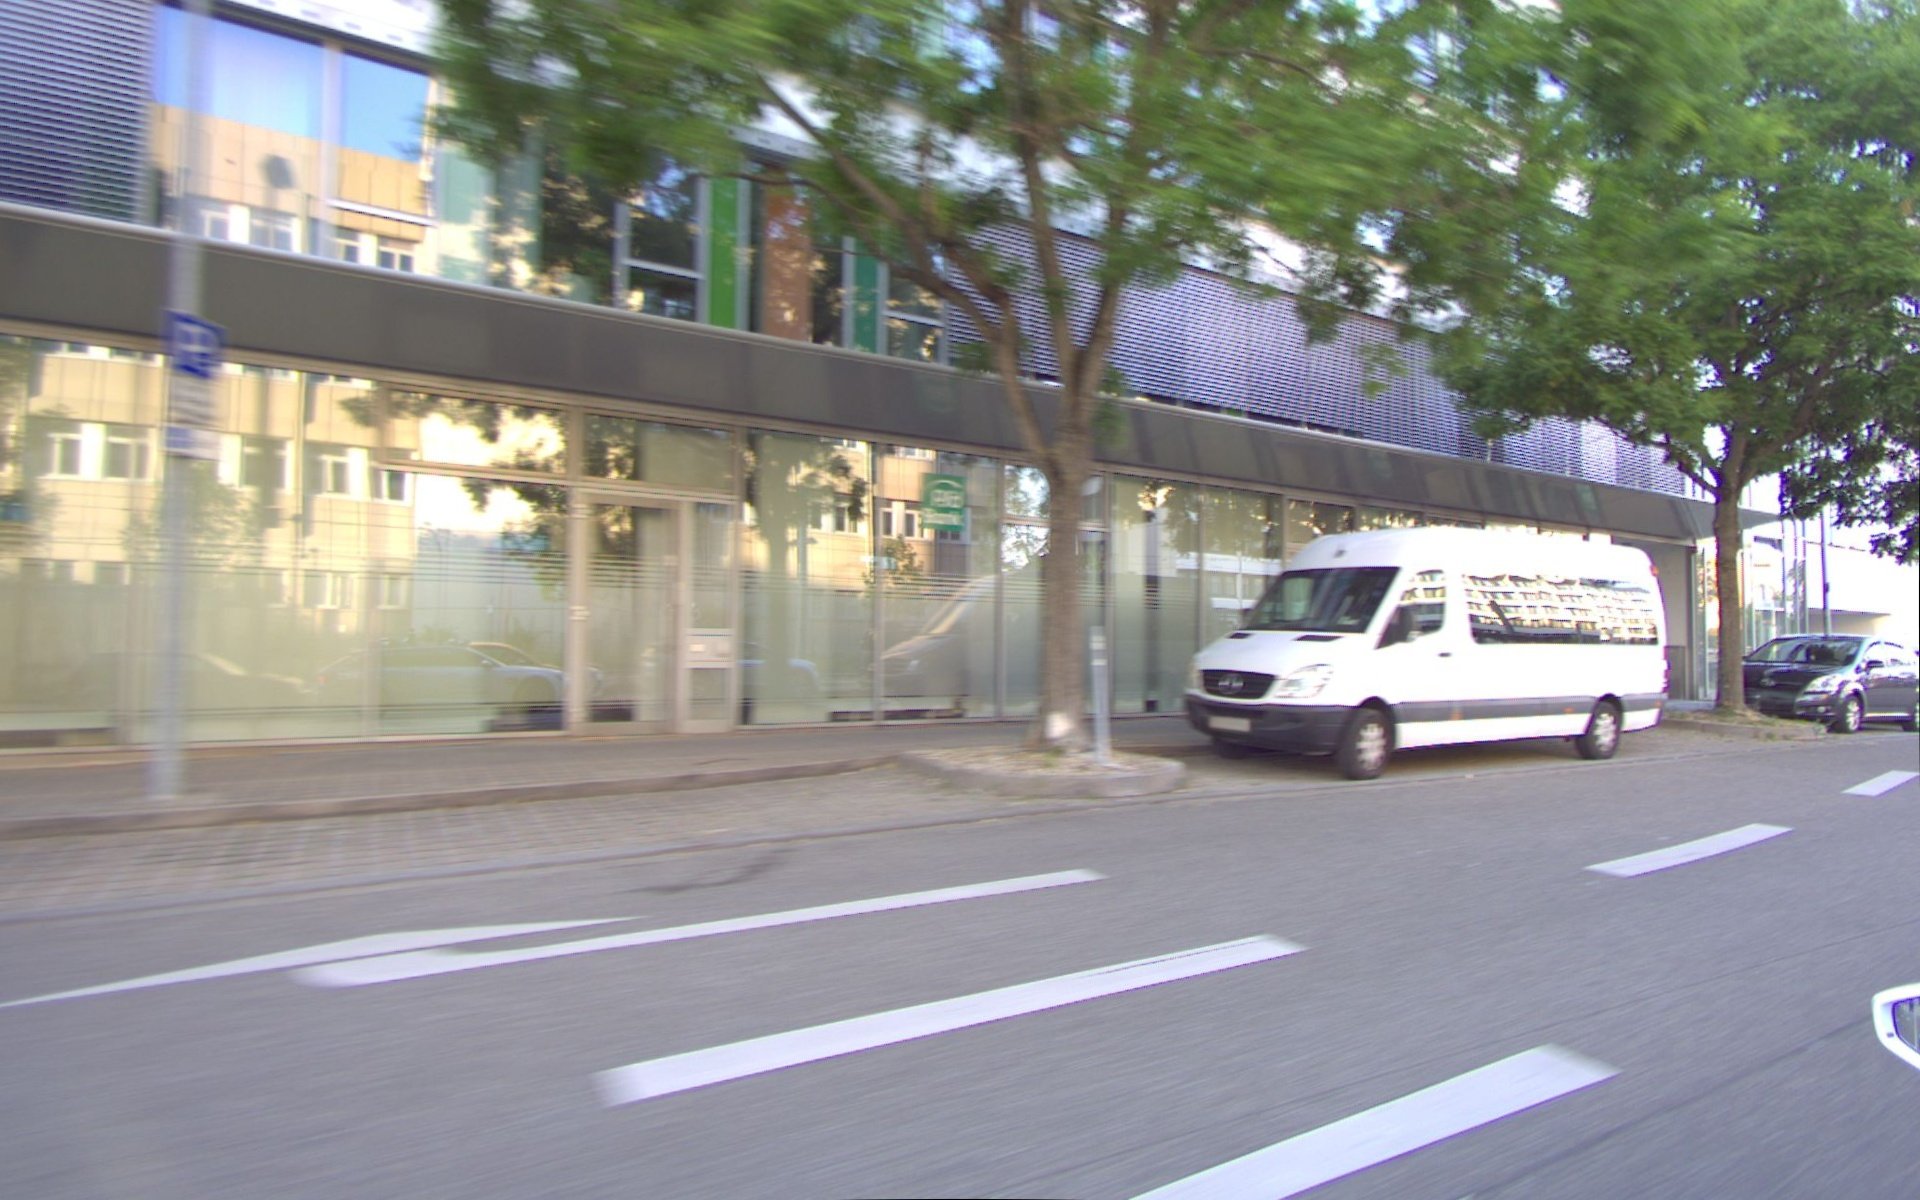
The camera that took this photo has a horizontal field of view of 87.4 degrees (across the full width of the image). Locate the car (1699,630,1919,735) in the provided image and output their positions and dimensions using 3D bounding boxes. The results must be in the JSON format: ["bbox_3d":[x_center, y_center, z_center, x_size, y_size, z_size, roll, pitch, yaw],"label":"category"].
[{"bbox_3d":[14.688,1.343,17.145,4.218,1.592,1.835,2,-2,-30],"label":"car"}]

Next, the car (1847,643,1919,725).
[{"bbox_3d":[19.161,1.612,19.680,4.355,1.471,1.704,2,-2,-35],"label":"car"}]

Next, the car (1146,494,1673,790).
[{"bbox_3d":[5.506,0.499,11.812,6.870,2.699,2.090,2,-2,-31],"label":"car"}]
